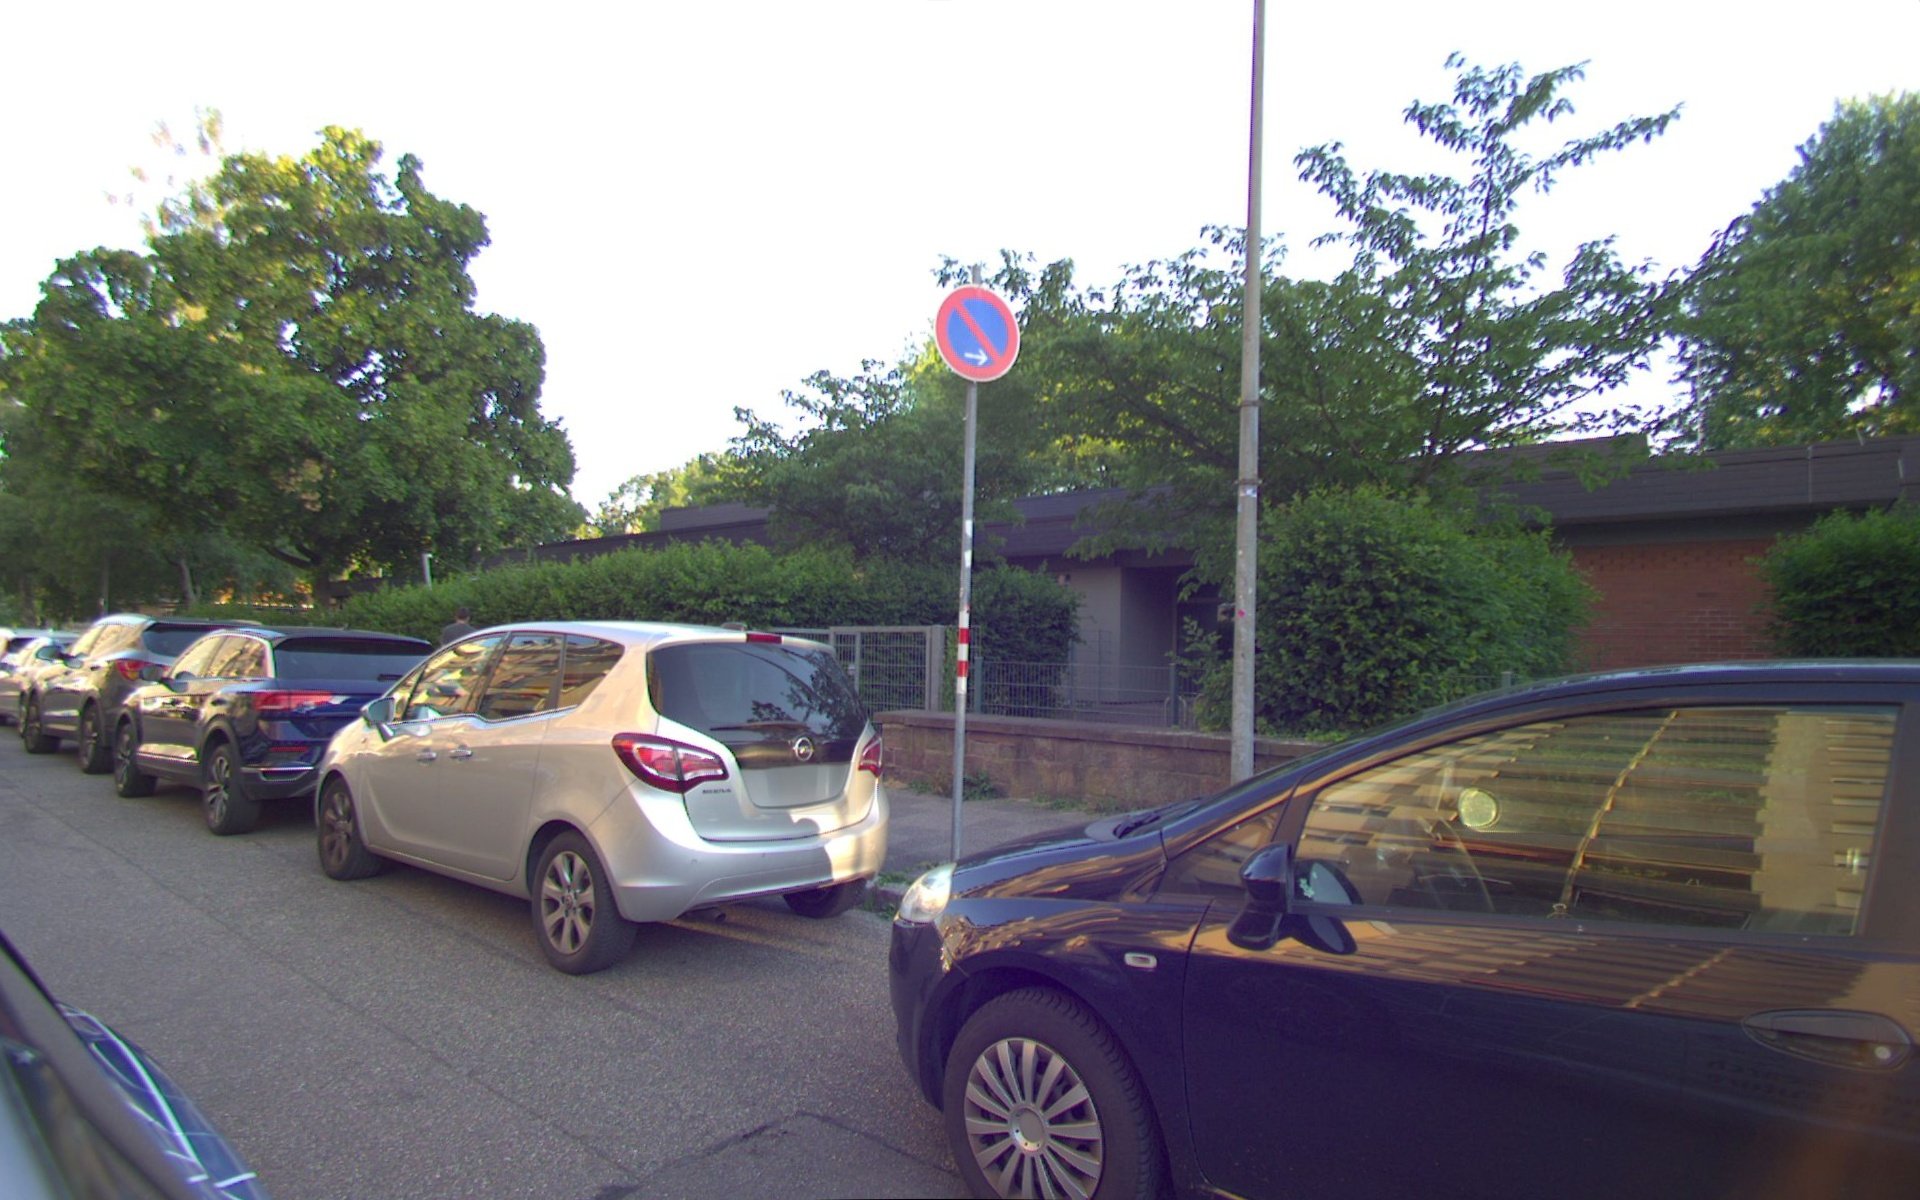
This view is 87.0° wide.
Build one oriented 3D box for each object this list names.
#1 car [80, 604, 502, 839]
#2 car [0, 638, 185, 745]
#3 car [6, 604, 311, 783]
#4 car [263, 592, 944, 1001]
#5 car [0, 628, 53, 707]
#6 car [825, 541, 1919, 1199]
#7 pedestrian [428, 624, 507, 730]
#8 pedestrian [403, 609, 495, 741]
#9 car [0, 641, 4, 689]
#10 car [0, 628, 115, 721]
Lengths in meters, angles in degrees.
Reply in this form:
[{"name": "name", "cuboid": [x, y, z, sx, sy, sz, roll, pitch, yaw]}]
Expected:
[{"name": "car", "cuboid": [-5.922, 0.924, 8.793, 4.160, 1.579, 1.717, -2, -5, 37]}, {"name": "car", "cuboid": [-13.786, 1.342, 15.664, 4.280, 1.438, 1.717, -2, -5, 37]}, {"name": "car", "cuboid": [-9.507, 1.024, 11.891, 4.316, 1.743, 1.717, -2, -5, 37]}, {"name": "car", "cuboid": [-2.247, 0.865, 5.888, 4.123, 1.579, 1.717, -2, -5, 37]}, {"name": "car", "cuboid": [-21.588, 1.451, 22.372, 3.978, 1.644, 1.715, -2, -5, 41]}, {"name": "car", "cuboid": [1.632, 0.769, 2.301, 3.691, 1.579, 1.717, -2, -5, 37]}, {"name": "pedestrian", "cuboid": [-7.404, 1.131, 15.211, 0.901, 1.519, 0.741, -2, -1, 38]}, {"name": "pedestrian", "cuboid": [-7.114, 1.013, 14.101, 0.749, 1.745, 0.890, -2, -1, 38]}, {"name": "car", "cuboid": [-29.697, 1.907, 29.951, 3.413, 1.436, 1.603, -2, -5, 40]}, {"name": "car", "cuboid": [-17.508, 1.349, 18.846, 4.273, 1.555, 1.742, -2, -5, 37]}]
